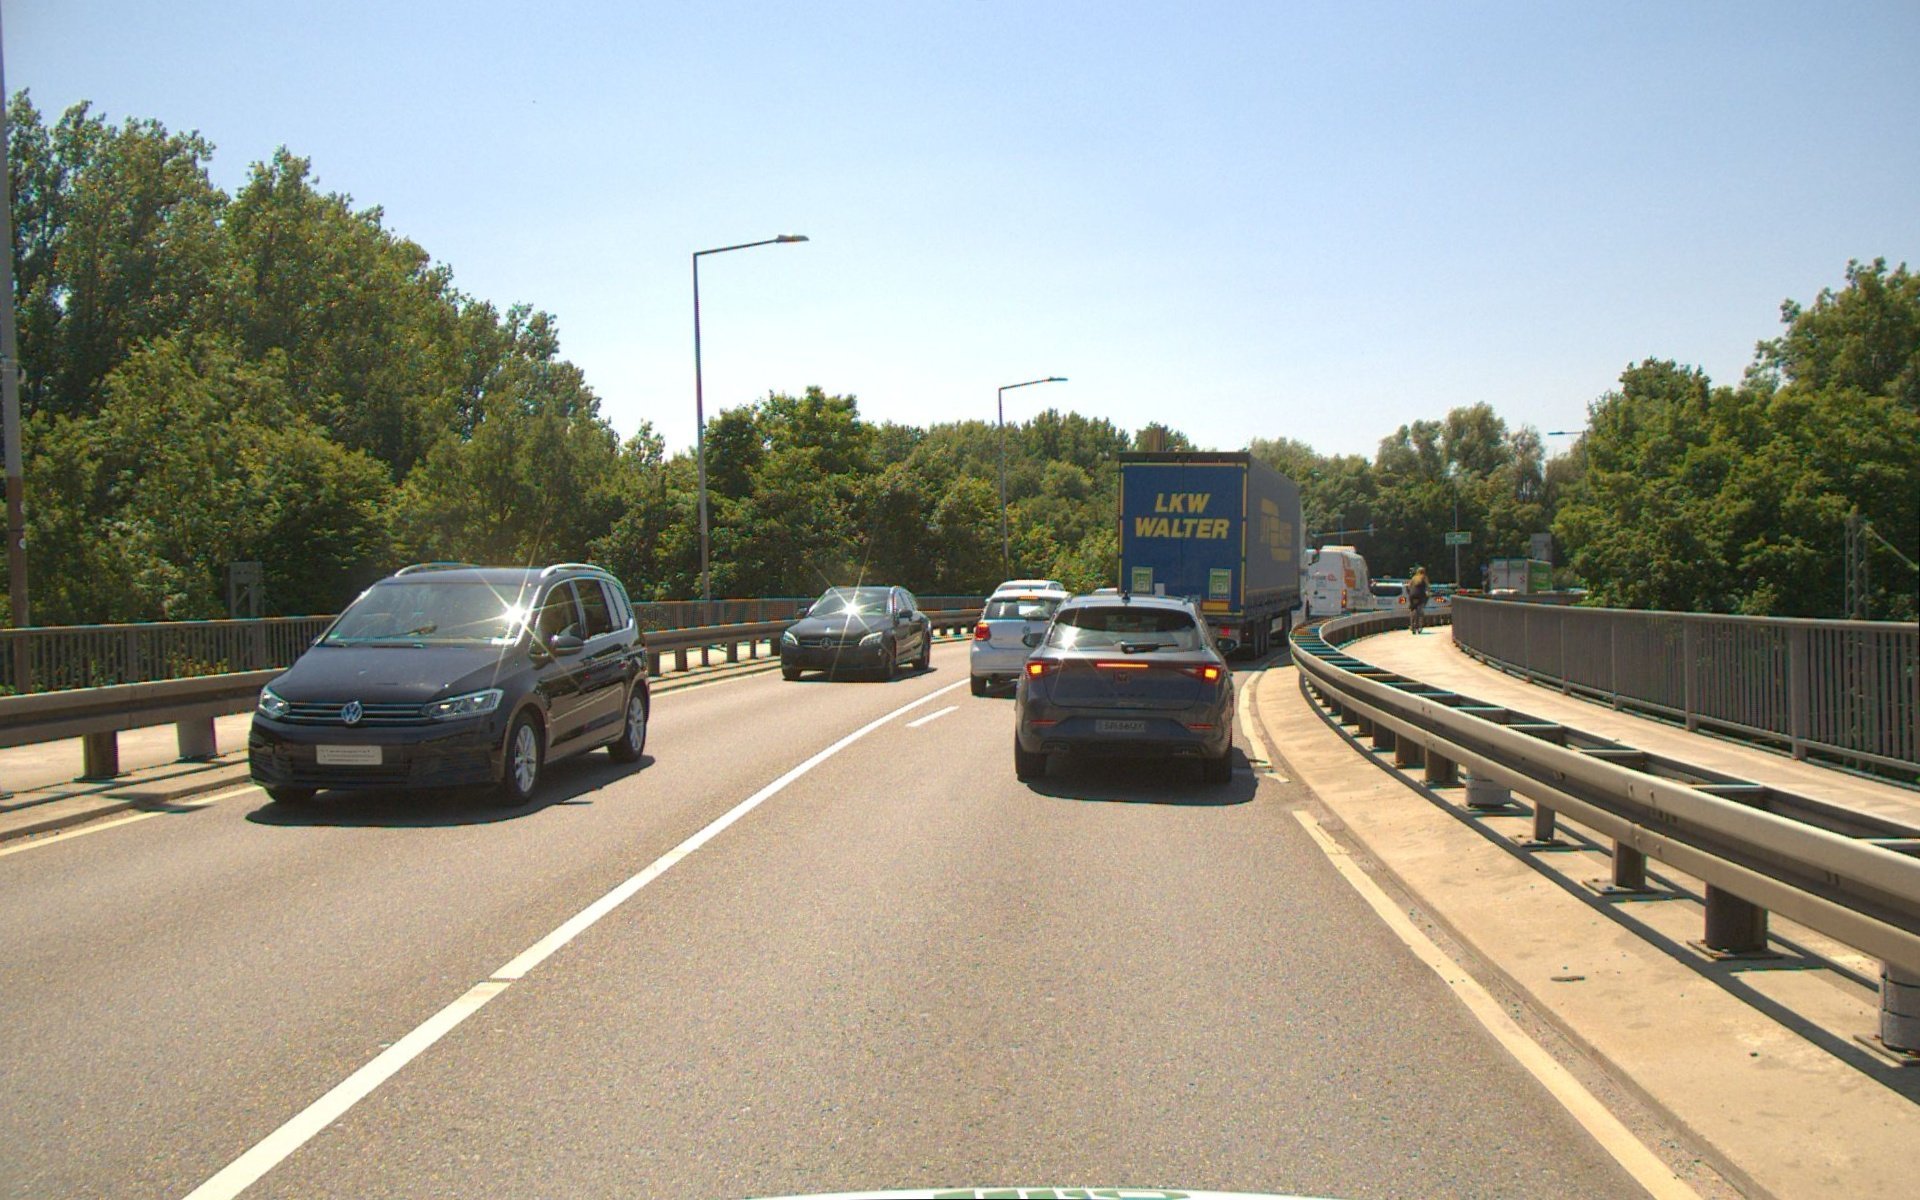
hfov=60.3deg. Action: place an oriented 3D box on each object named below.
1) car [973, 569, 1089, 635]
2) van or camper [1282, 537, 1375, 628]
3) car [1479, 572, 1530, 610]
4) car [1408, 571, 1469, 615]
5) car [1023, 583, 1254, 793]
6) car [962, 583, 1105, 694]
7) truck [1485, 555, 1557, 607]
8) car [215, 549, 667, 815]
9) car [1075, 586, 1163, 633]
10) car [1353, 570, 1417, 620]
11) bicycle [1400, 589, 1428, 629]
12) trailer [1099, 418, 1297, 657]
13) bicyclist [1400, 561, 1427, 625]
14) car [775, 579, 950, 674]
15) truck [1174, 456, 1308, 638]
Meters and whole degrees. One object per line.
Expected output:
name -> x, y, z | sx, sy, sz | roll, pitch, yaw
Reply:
car -> 1.869, 0.035, 42.316 | 1.701, 1.607, 4.177 | 0, 0, 21
van or camper -> 12.476, -0.610, 55.654 | 2.110, 2.864, 6.387 | 1, 1, 21
car -> 28.018, -0.461, 84.977 | 1.689, 1.876, 3.992 | 1, 1, 30
car -> 20.744, -0.306, 71.614 | 1.688, 1.834, 3.993 | 1, 1, 29
car -> 1.375, 0.610, 13.851 | 1.642, 1.481, 3.960 | 1, 1, 3
car -> 1.166, 0.497, 24.361 | 1.641, 1.435, 3.979 | 1, 1, 9
truck -> 32.951, -1.119, 97.046 | 2.296, 2.924, 5.917 | 1, 1, 37
car -> -3.629, 0.492, 12.459 | 1.734, 1.654, 4.256 | 0, 0, 5
car -> 4.975, 0.261, 51.413 | 1.662, 1.400, 3.999 | 0, 0, 22
car -> 16.602, -0.228, 64.505 | 1.687, 1.876, 3.997 | 1, 1, 26
bicycle -> 12.410, 0.226, 45.182 | 0.570, 1.054, 1.485 | -2, 0, 21
trailer -> 5.729, -1.278, 37.463 | 2.843, 4.495, 12.442 | 1, 1, 15
bicyclist -> 12.390, -0.186, 45.167 | 0.566, 1.712, 0.729 | -2, 0, 21
car -> -1.530, 0.391, 27.782 | 1.734, 1.464, 4.395 | 0, 0, 14
truck -> 7.649, -1.367, 44.342 | 2.843, 4.495, 6.560 | 1, 1, 15
